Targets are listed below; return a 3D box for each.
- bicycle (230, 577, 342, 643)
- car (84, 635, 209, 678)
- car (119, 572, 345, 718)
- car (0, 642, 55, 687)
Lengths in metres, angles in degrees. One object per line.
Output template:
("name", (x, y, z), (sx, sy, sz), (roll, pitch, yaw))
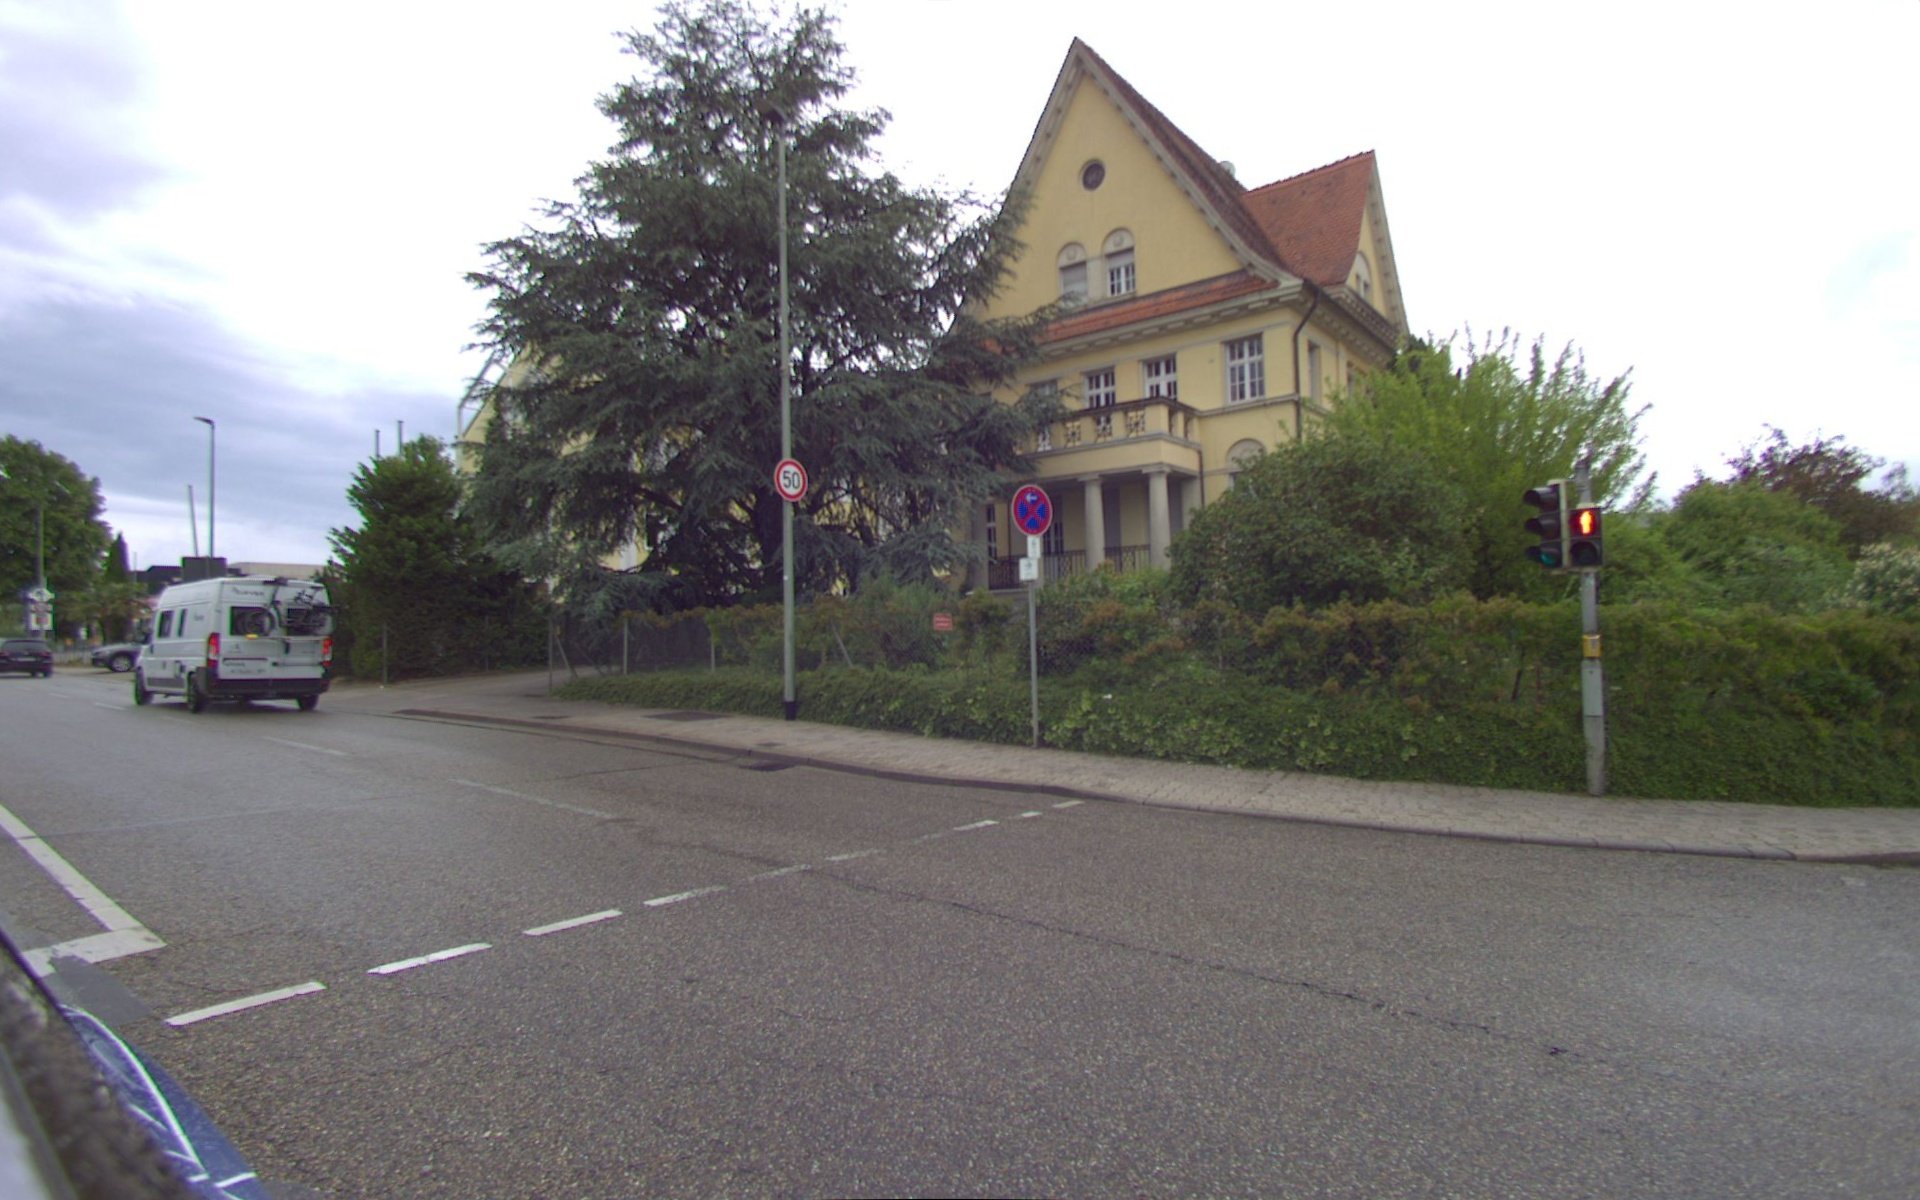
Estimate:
("bicycle", (-12.368, 0.204, 18.600), (0.467, 1.134, 1.620), (-3, -4, 39))
("car", (-33.386, 2.284, 41.589), (3.876, 1.664, 1.720), (1, -2, -44))
("car", (-14.814, 0.907, 20.457), (5.768, 2.547, 2.274), (-2, -4, 40))
("car", (-35.533, 2.384, 37.929), (4.468, 1.513, 1.758), (-1, -2, 40))
